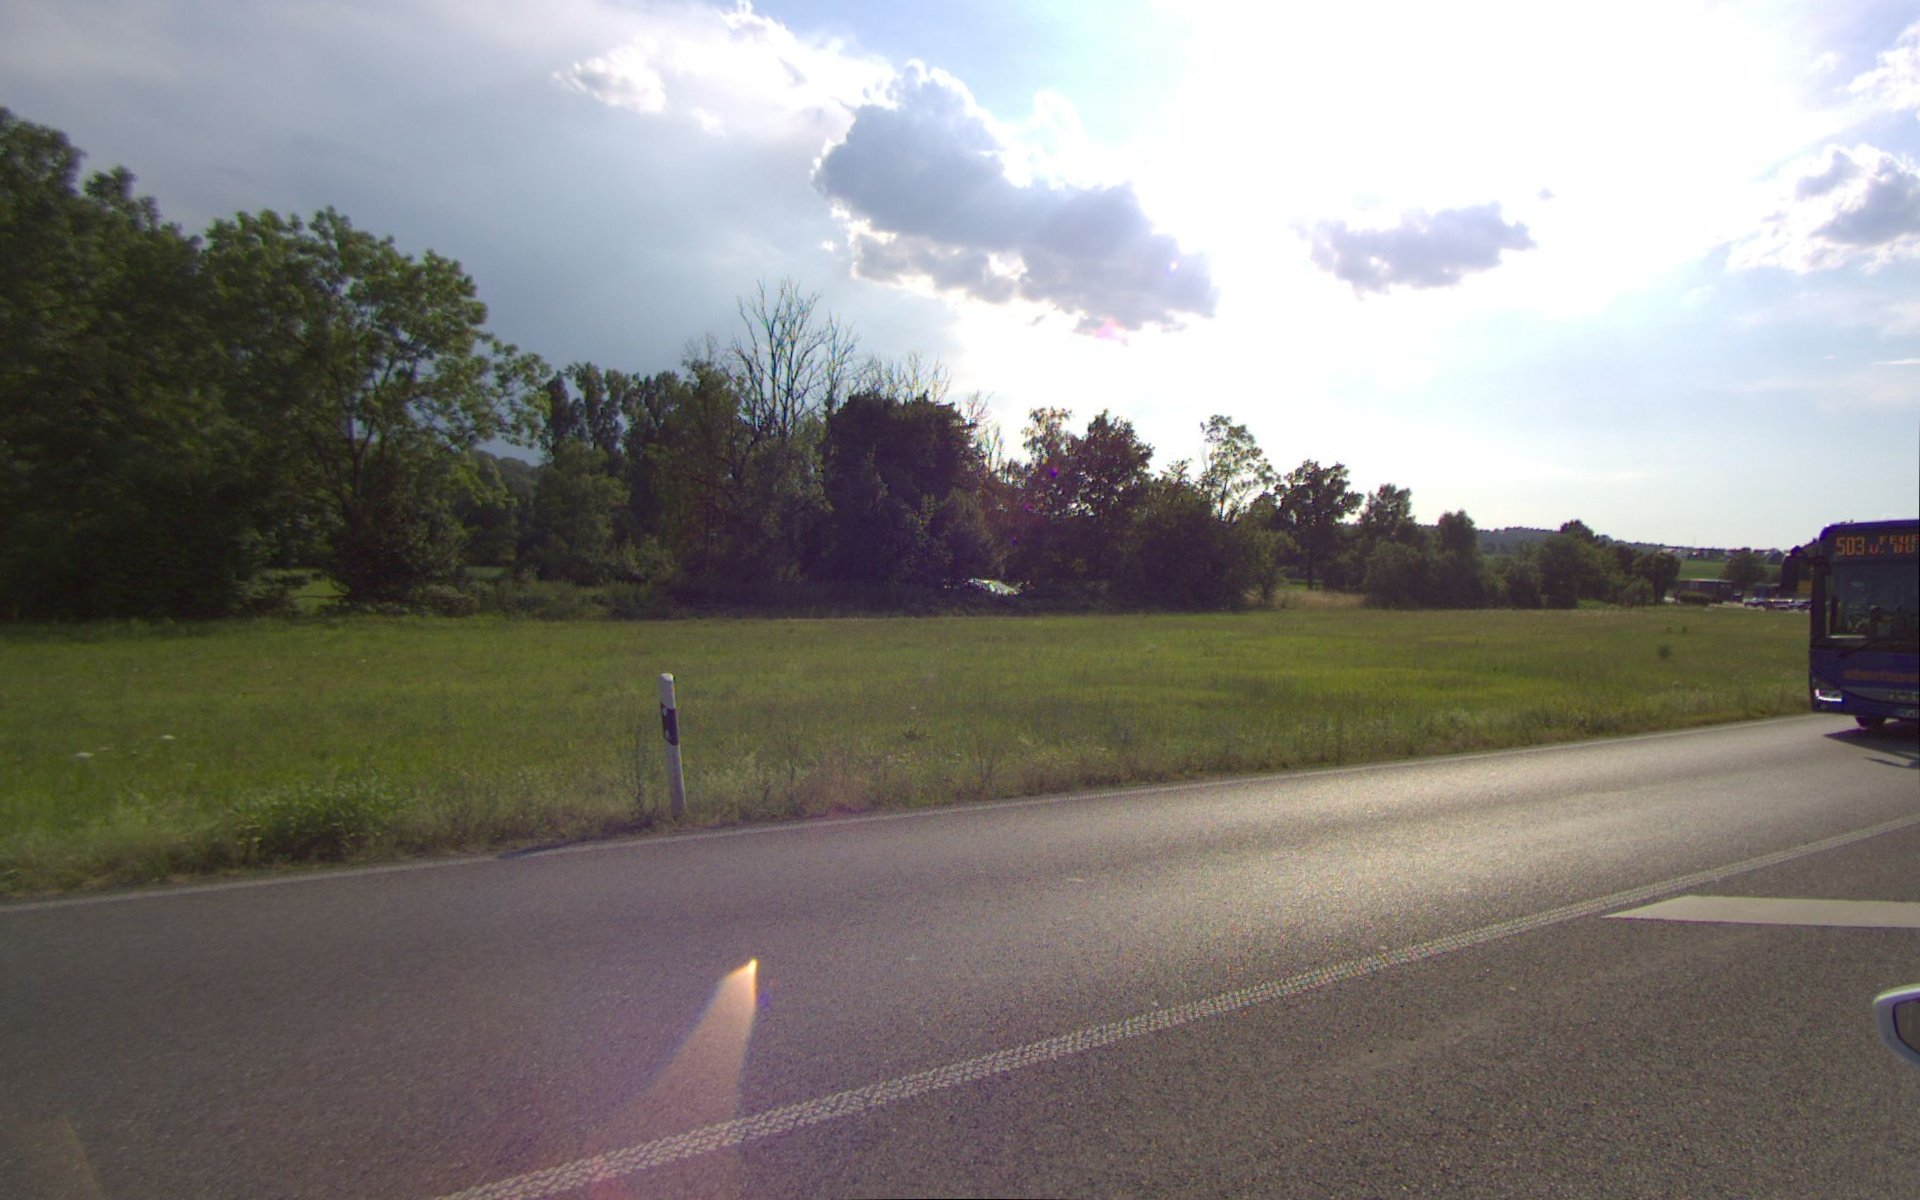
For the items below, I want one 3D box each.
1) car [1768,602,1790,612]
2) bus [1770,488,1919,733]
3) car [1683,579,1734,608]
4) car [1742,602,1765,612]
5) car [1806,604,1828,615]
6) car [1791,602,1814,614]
[{"bbox_3d":[132.111,1.139,162.053,1.852,1.621,3.996,2,1,26],"label":"car"},{"bbox_3d":[17.362,0.350,16.832,12.009,3.223,2.775,3,0,-36],"label":"bus"},{"bbox_3d":[138.766,-1.245,186.543,3.482,5.127,13.243,2,1,18],"label":"car"},{"bbox_3d":[133.601,1.199,169.193,1.851,1.621,3.999,2,1,20],"label":"car"},{"bbox_3d":[126.631,1.360,148.427,1.855,1.621,3.990,2,1,32],"label":"car"},{"bbox_3d":[129.316,1.216,154.176,1.853,1.621,3.994,2,1,28],"label":"car"}]
